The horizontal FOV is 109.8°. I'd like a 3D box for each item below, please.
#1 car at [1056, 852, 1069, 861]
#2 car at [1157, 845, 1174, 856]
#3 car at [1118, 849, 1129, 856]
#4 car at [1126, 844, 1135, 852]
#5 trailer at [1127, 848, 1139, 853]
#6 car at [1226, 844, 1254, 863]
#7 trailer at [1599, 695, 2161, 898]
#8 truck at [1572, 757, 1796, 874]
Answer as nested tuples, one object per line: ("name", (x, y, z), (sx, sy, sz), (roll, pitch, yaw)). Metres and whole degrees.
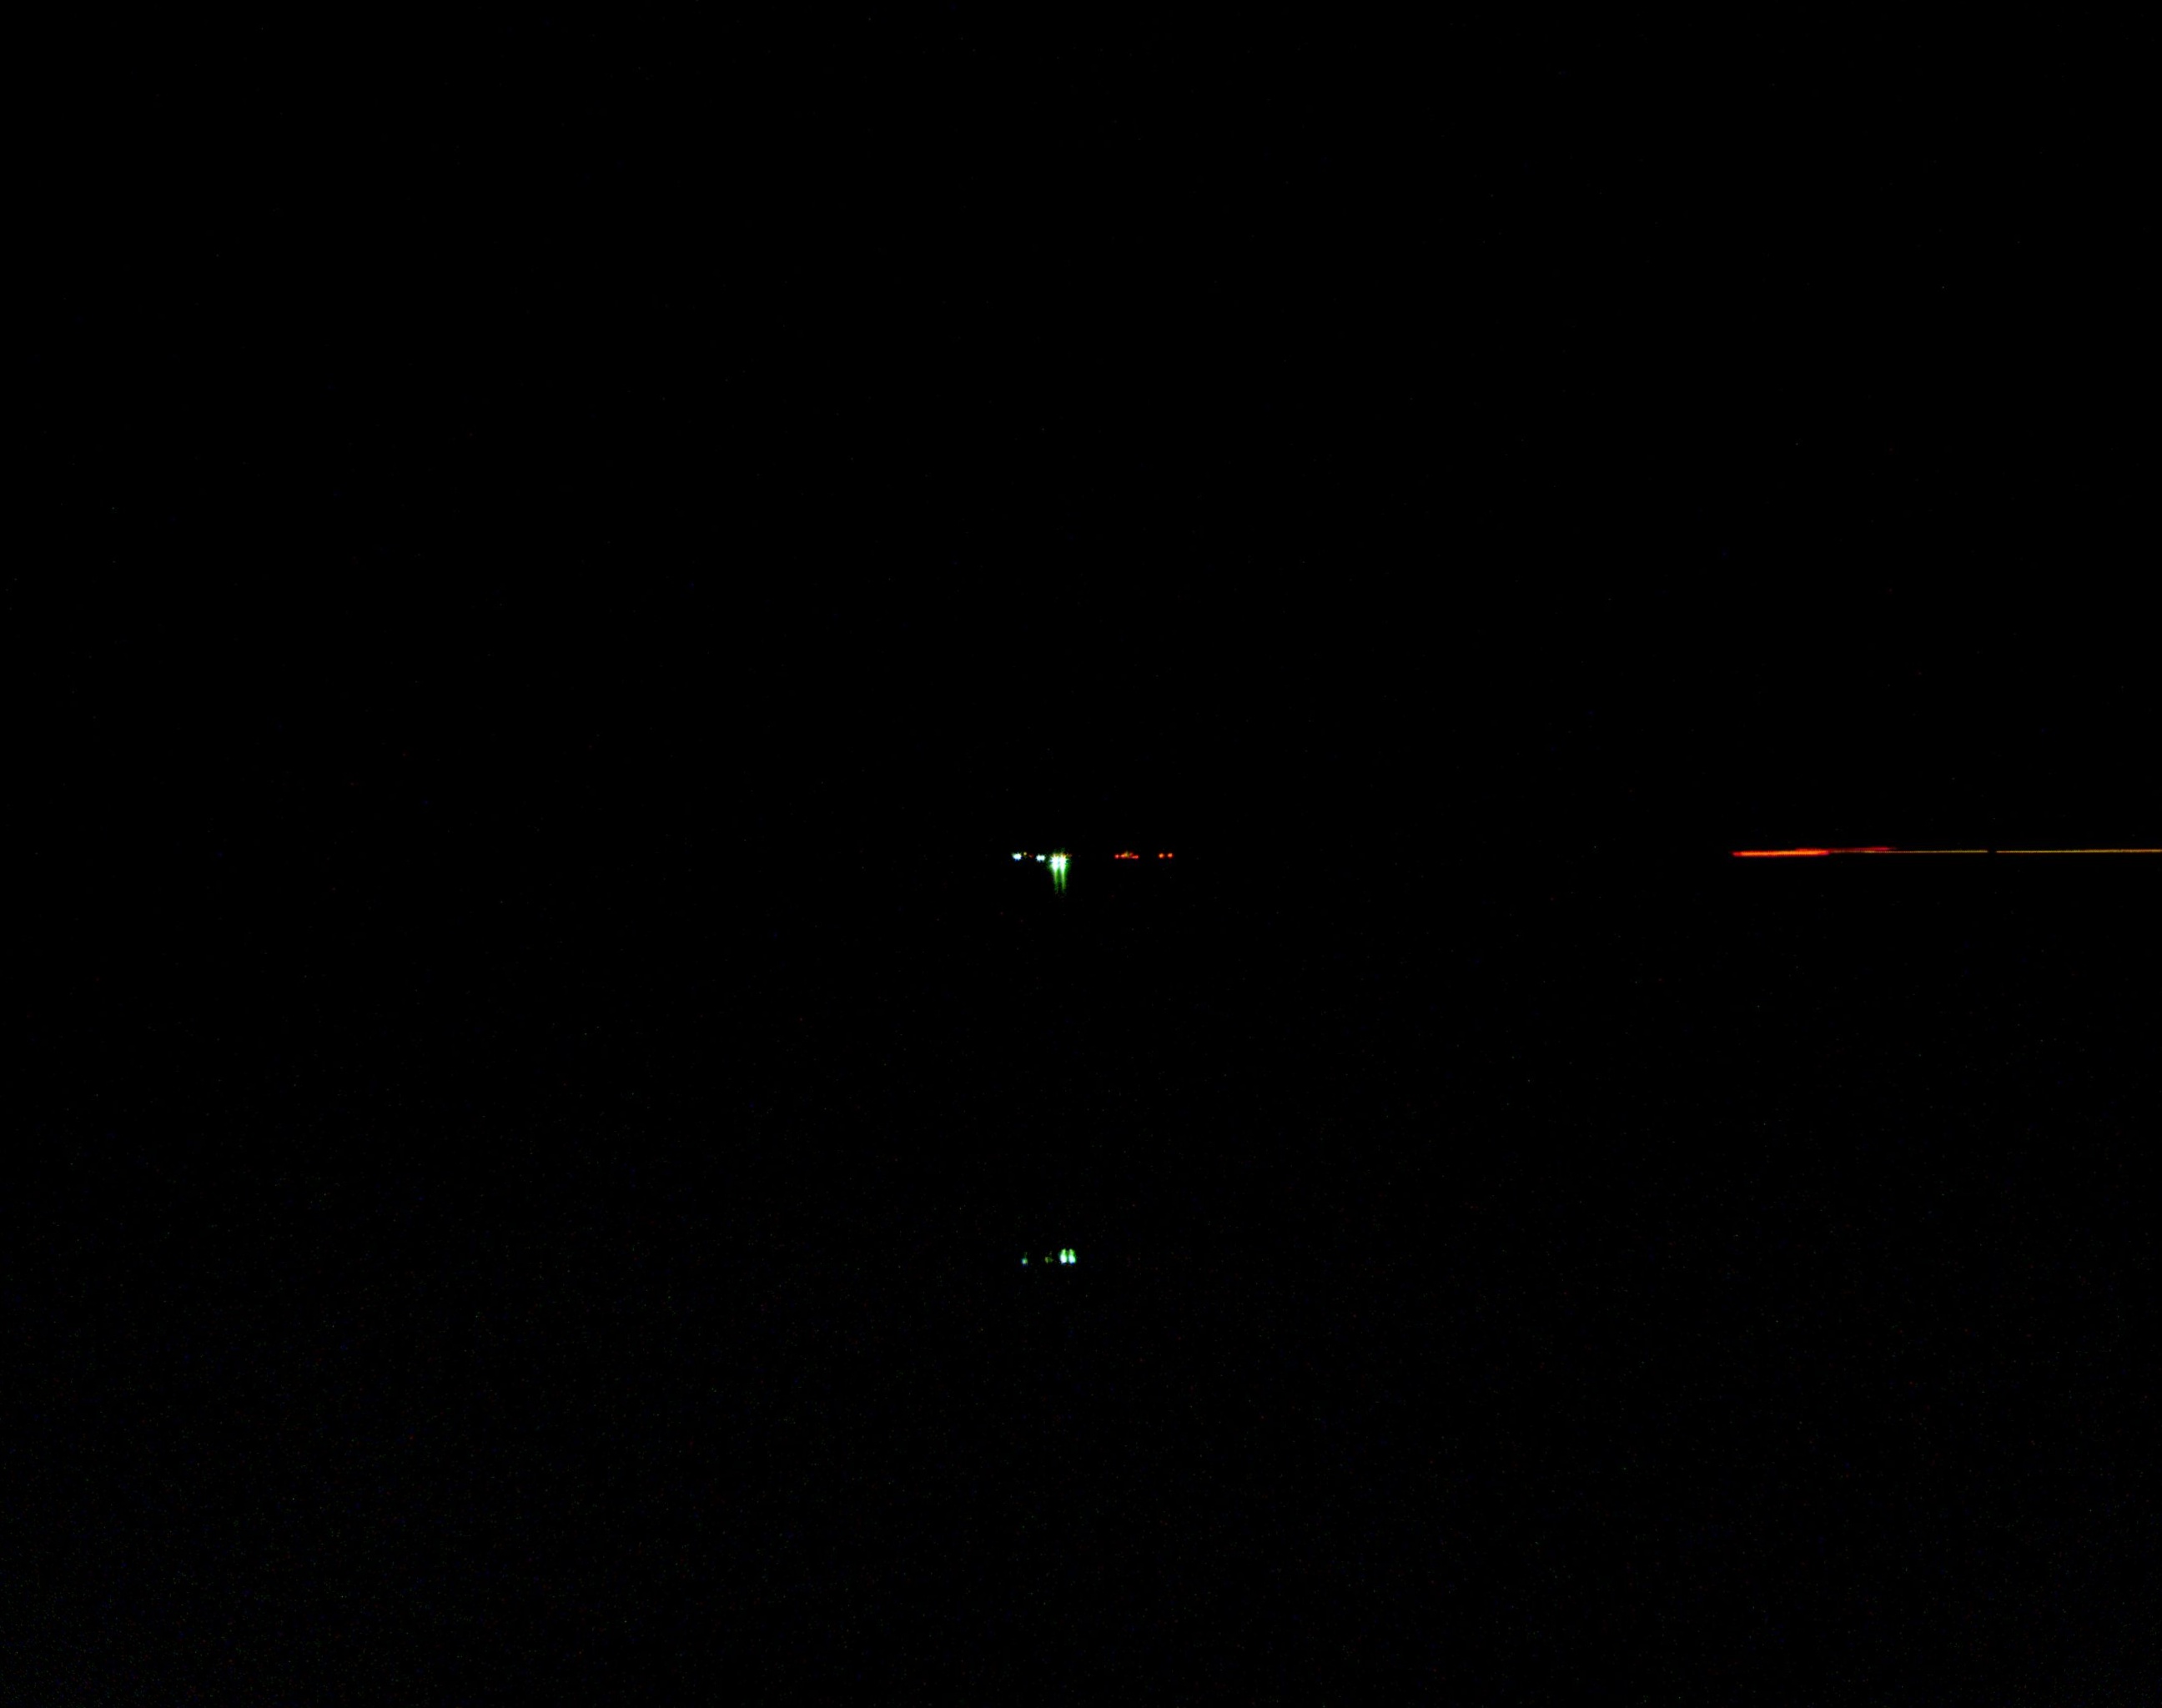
("car", (-3.415, 0.467, 141.598), (2.155, 1.558, 4.579), (-2, 1, -4))
("car", (15.639, -0.654, 140.338), (1.999, 1.811, 5.684), (-2, 1, -5))
("car", (10.043, -0.357, 178.510), (1.908, 1.496, 4.271), (-2, 1, -4))
("car", (14.388, -1.745, 221.300), (2.088, 2.473, 6.240), (-2, 1, -2))
("trailer", (14.739, -1.041, 214.099), (2.421, 1.098, 8.073), (-2, 1, -3))
("car", (14.811, -0.063, 71.113), (1.750, 1.636, 3.741), (-2, 1, -1))
("trailer", (23.034, -1.278, 22.596), (3.552, 3.977, 17.280), (-2, 1, 1))
("truck", (23.097, -1.374, 29.721), (3.511, 3.947, 6.698), (-2, 1, 1))
